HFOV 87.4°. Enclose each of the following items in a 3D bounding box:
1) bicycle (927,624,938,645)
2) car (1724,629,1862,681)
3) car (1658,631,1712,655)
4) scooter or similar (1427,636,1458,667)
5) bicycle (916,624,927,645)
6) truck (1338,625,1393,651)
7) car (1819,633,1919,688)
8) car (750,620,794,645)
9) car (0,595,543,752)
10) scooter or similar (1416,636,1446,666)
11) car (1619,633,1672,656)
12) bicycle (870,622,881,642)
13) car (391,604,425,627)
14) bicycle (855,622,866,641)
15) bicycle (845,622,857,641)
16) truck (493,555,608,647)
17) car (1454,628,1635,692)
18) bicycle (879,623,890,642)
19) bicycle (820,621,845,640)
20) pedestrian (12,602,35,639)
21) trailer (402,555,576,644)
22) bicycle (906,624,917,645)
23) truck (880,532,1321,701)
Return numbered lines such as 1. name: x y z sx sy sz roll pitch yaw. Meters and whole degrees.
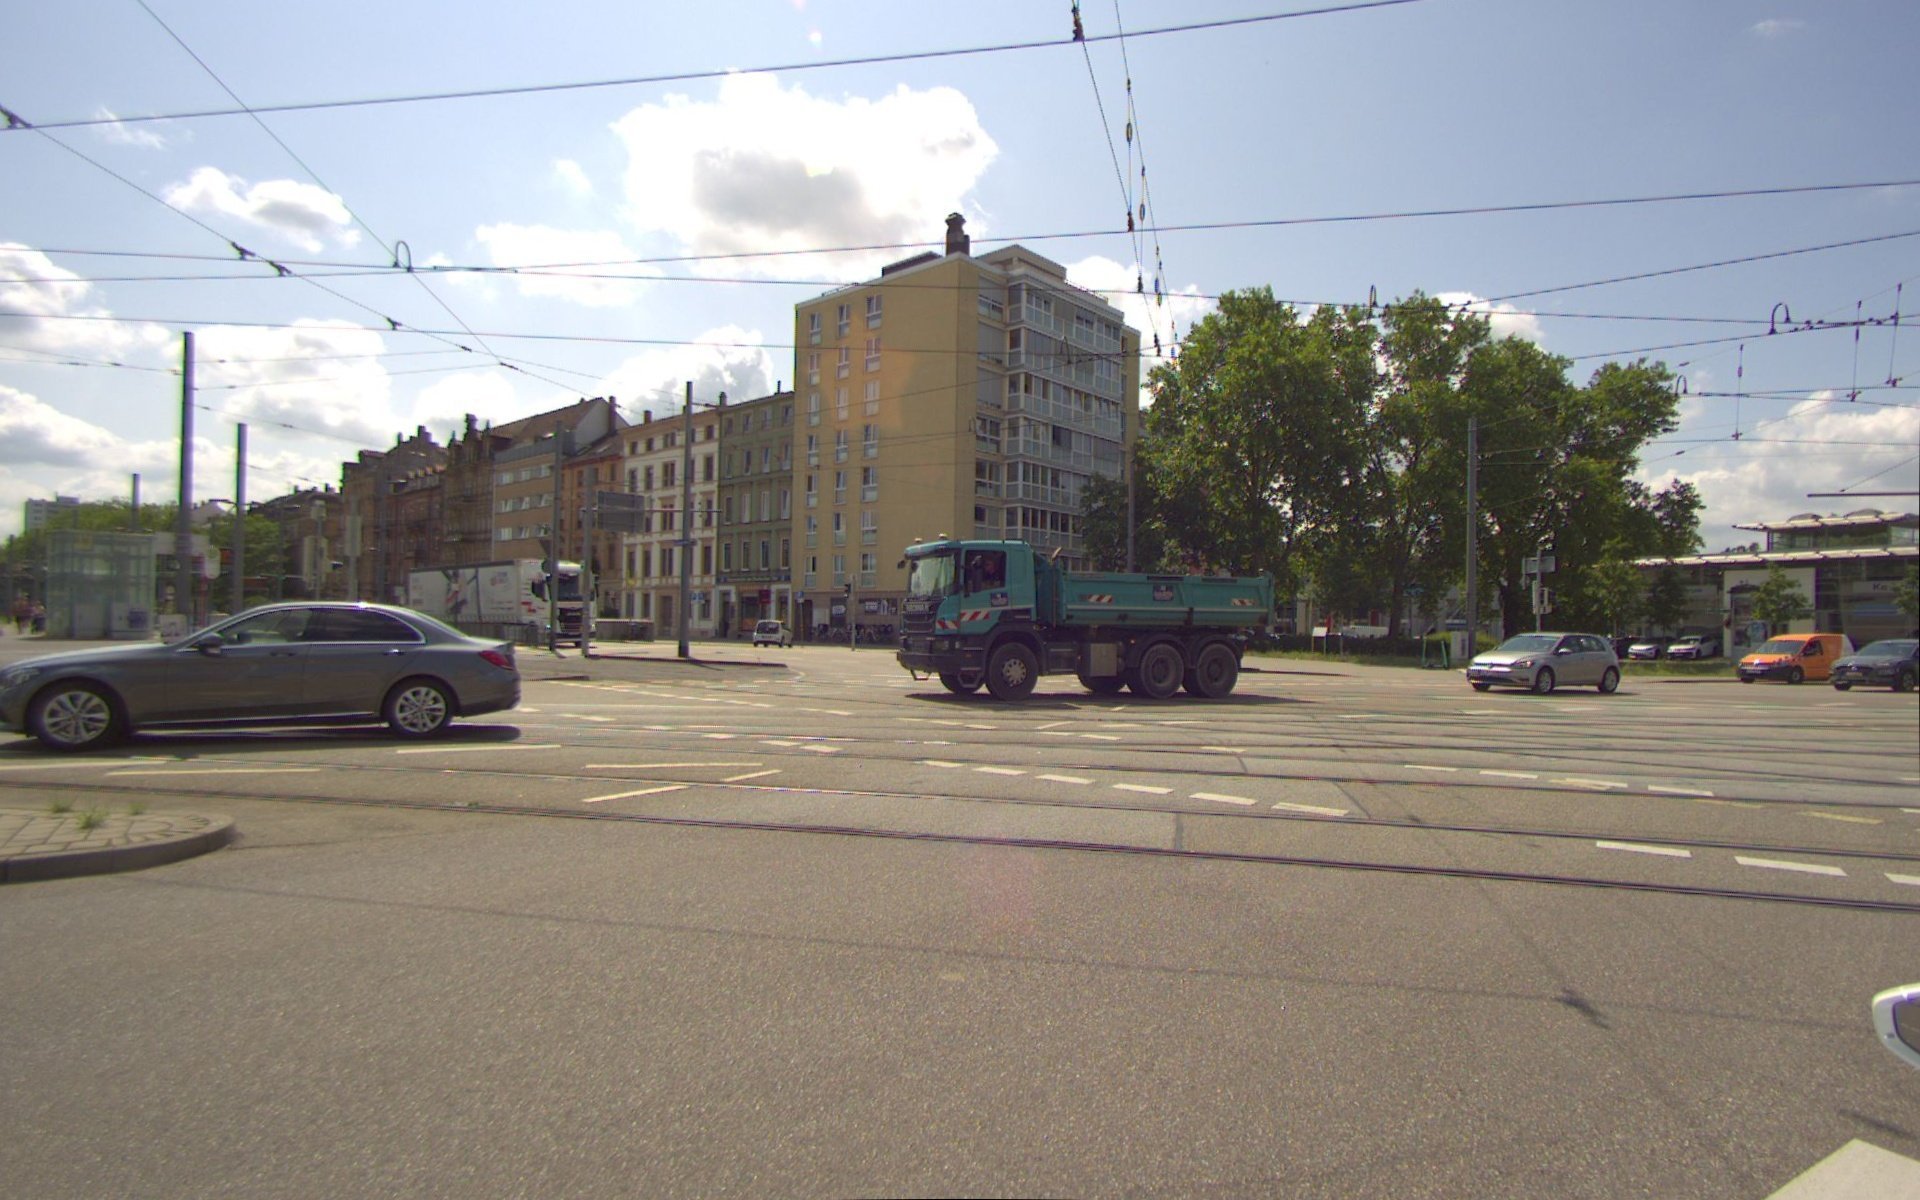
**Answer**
1. bicycle: -1.626 2.036 59.283 0.523 1.162 2.133 2 -1 -4
2. car: 30.145 1.985 36.351 4.667 1.824 1.716 1 -2 -20
3. car: 53.163 3.152 73.654 4.137 1.595 1.980 3 -1 -35
4. scooter or similar: 18.783 2.000 39.118 1.076 1.130 0.378 3 -1 -13
5. bicycle: -2.286 2.023 59.601 0.502 1.162 2.133 2 -1 -5
6. truck: 35.120 3.316 86.973 4.719 2.148 1.797 2 -1 -28
7. car: 28.044 1.804 30.043 4.055 1.552 1.717 1 -1 -18
8. car: -10.427 1.792 55.974 1.625 1.338 3.358 1 -1 3
9. car: -7.095 0.725 10.752 4.716 1.410 1.646 2 -1 -28
10. scooter or similar: 18.664 2.017 39.805 1.076 1.130 0.378 3 -1 -13
11. car: 52.121 3.409 76.395 4.137 1.595 1.980 3 -1 -35
12. bicycle: -5.201 1.984 62.014 0.501 1.162 2.134 2 -1 -2
13. car: -62.590 1.748 113.792 4.058 2.374 1.991 2 -1 40
14. bicycle: -6.223 1.957 62.973 0.501 1.162 2.134 2 -1 -2
15. bicycle: -6.877 1.970 63.364 0.501 1.162 2.134 2 -1 -2
16. truck: -19.032 0.039 46.593 5.370 4.021 2.694 2 -1 42
17. car: 14.256 1.440 24.476 4.211 1.452 1.649 1 -1 -23
18. bicycle: -4.651 1.996 61.772 0.501 1.162 2.134 2 -1 -2
19. bicycle: -8.288 1.974 65.270 0.524 1.162 1.922 3 -1 -43
20. pedestrian: -47.018 1.015 50.426 0.610 1.816 0.525 3 -1 -25
21. trailer: -24.408 -0.105 51.386 13.838 4.021 2.694 2 -1 42
22. bicycle: -2.899 2.043 59.826 0.502 1.162 2.133 2 -1 -5
23. truck: 2.951 0.412 20.320 8.670 2.890 2.878 1 -1 -24
